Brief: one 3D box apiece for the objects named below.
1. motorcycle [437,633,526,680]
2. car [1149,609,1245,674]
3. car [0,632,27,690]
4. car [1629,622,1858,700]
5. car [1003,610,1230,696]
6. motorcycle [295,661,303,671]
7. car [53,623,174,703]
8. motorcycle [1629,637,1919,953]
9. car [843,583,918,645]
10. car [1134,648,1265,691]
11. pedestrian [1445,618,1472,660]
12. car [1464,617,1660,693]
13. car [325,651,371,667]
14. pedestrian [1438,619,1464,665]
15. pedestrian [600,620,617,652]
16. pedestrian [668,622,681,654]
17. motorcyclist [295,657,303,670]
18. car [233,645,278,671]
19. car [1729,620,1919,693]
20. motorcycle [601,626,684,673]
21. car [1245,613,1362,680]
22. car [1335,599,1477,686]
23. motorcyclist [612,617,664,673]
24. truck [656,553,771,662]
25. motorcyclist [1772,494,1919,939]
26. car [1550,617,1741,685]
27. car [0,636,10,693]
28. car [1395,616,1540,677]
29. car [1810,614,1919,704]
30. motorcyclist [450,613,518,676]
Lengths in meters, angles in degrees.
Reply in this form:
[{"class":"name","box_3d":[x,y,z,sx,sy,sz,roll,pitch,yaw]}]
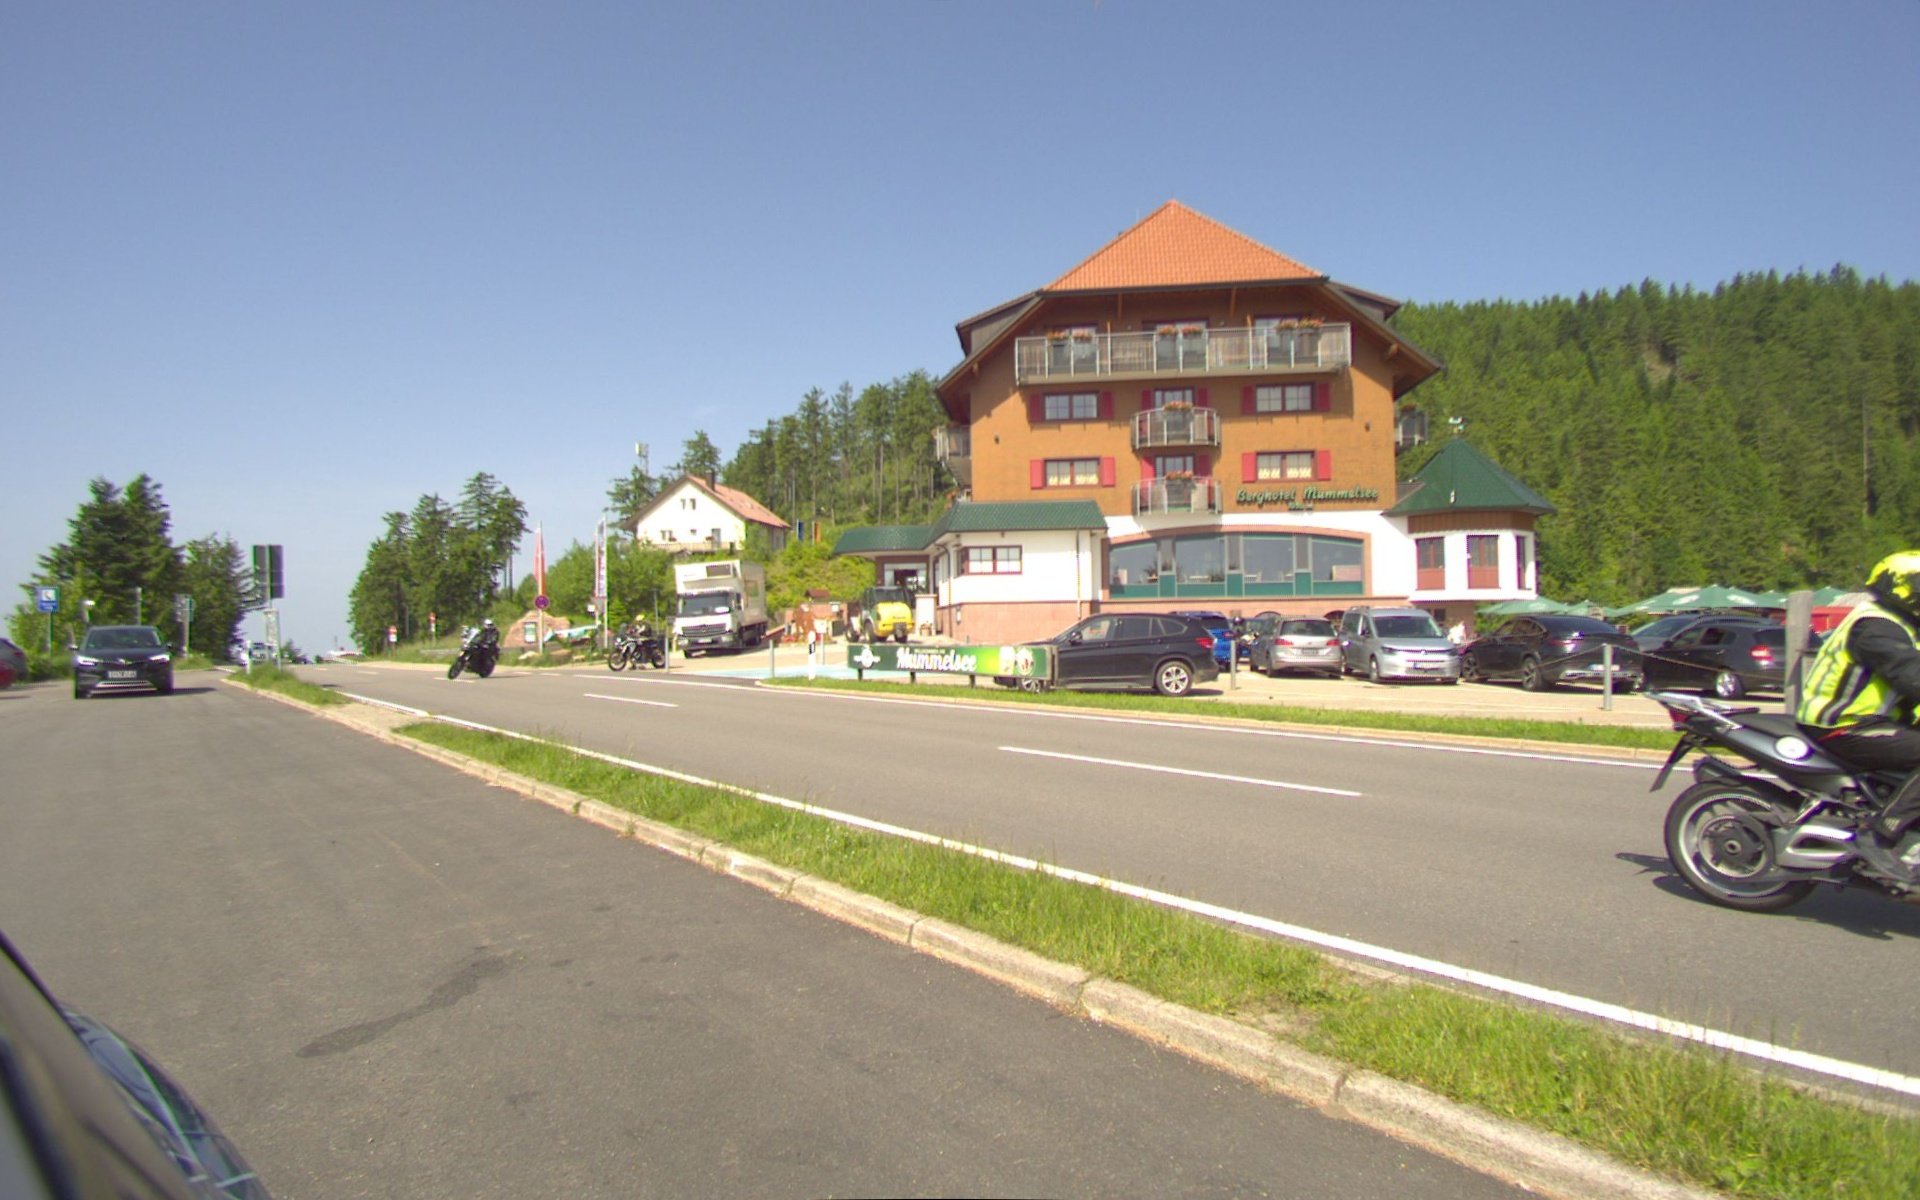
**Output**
[{"class":"motorcycle","box_3d":[-13.489,1.590,28.609,0.873,1.266,2.260,0,-3,22]},{"class":"car","box_3d":[6.633,1.142,28.828,1.915,1.676,4.539,-1,-1,4]},{"class":"car","box_3d":[-28.816,1.819,27.962,1.908,1.580,4.348,-4,-1,44]},{"class":"car","box_3d":[14.708,1.131,19.273,1.566,1.331,3.636,-1,-2,2]},{"class":"car","box_3d":[2.939,1.027,19.669,4.139,1.552,1.805,-1,-2,5]},{"class":"motorcycle","box_3d":[-87.286,8.688,133.614,0.800,1.275,2.334,1,-3,-30]},{"class":"car","box_3d":[-19.226,1.377,23.080,1.955,1.629,4.157,0,-2,-39]},{"class":"motorcycle","box_3d":[4.112,0.766,4.021,0.812,1.186,2.289,1,-1,-41]},{"class":"car","box_3d":[-3.457,0.667,43.293,1.965,2.515,4.013,0,-3,-24]},{"class":"car","box_3d":[7.749,2.267,33.116,3.952,1.307,1.710,-1,-2,7]},{"class":"pedestrian","box_3d":[18.003,1.424,36.560,0.696,1.500,0.623,-1,-3,13]},{"class":"car","box_3d":[12.492,1.138,21.347,1.889,1.441,3.995,-1,-2,4]},{"class":"car","box_3d":[-77.278,7.493,127.809,4.655,1.896,1.936,4,-5,-37]},{"class":"pedestrian","box_3d":[18.083,1.549,37.264,0.696,1.645,0.623,-1,-3,13]},{"class":"pedestrian","box_3d":[-19.142,1.986,55.162,0.689,1.729,0.799,-1,-3,-4]},{"class":"pedestrian","box_3d":[-15.120,2.021,53.574,0.567,1.702,0.653,-1,-3,-4]},{"class":"motorcyclist","box_3d":[-87.249,8.361,133.595,0.866,1.654,1.303,1,-3,-30]},{"class":"car","box_3d":[-41.105,3.366,59.031,1.754,1.468,4.006,1,-3,-40]},{"class":"car","box_3d":[19.063,1.180,21.839,1.909,1.429,3.997,0,-2,2]},{"class":"motorcycle","box_3d":[-10.258,1.564,32.776,1.006,1.417,2.410,-1,-1,43]},{"class":"car","box_3d":[8.742,1.196,26.122,1.975,1.557,3.992,-1,-2,6]},{"class":"car","box_3d":[10.577,1.026,24.371,1.813,1.878,4.520,-1,-2,7]},{"class":"motorcyclist","box_3d":[-10.369,1.431,32.634,1.065,1.733,1.230,-1,-1,43]},{"class":"truck","box_3d":[-10.215,0.268,43.007,3.025,4.002,8.778,-3,0,-3]},{"class":"motorcyclist","box_3d":[4.160,0.443,4.016,1.013,1.688,1.295,1,-1,-41]},{"class":"car","box_3d":[16.207,1.198,24.220,1.909,1.494,3.997,0,-2,2]},{"class":"car","box_3d":[-27.309,1.773,26.073,1.841,1.521,3.946,-4,-2,40]},{"class":"car","box_3d":[13.374,1.226,26.947,1.909,1.494,3.997,0,-2,2]},{"class":"car","box_3d":[16.772,0.975,17.006,1.694,1.497,4.073,-1,-2,5]},{"class":"motorcyclist","box_3d":[-13.477,1.266,28.698,0.920,1.731,1.441,0,-3,23]}]
